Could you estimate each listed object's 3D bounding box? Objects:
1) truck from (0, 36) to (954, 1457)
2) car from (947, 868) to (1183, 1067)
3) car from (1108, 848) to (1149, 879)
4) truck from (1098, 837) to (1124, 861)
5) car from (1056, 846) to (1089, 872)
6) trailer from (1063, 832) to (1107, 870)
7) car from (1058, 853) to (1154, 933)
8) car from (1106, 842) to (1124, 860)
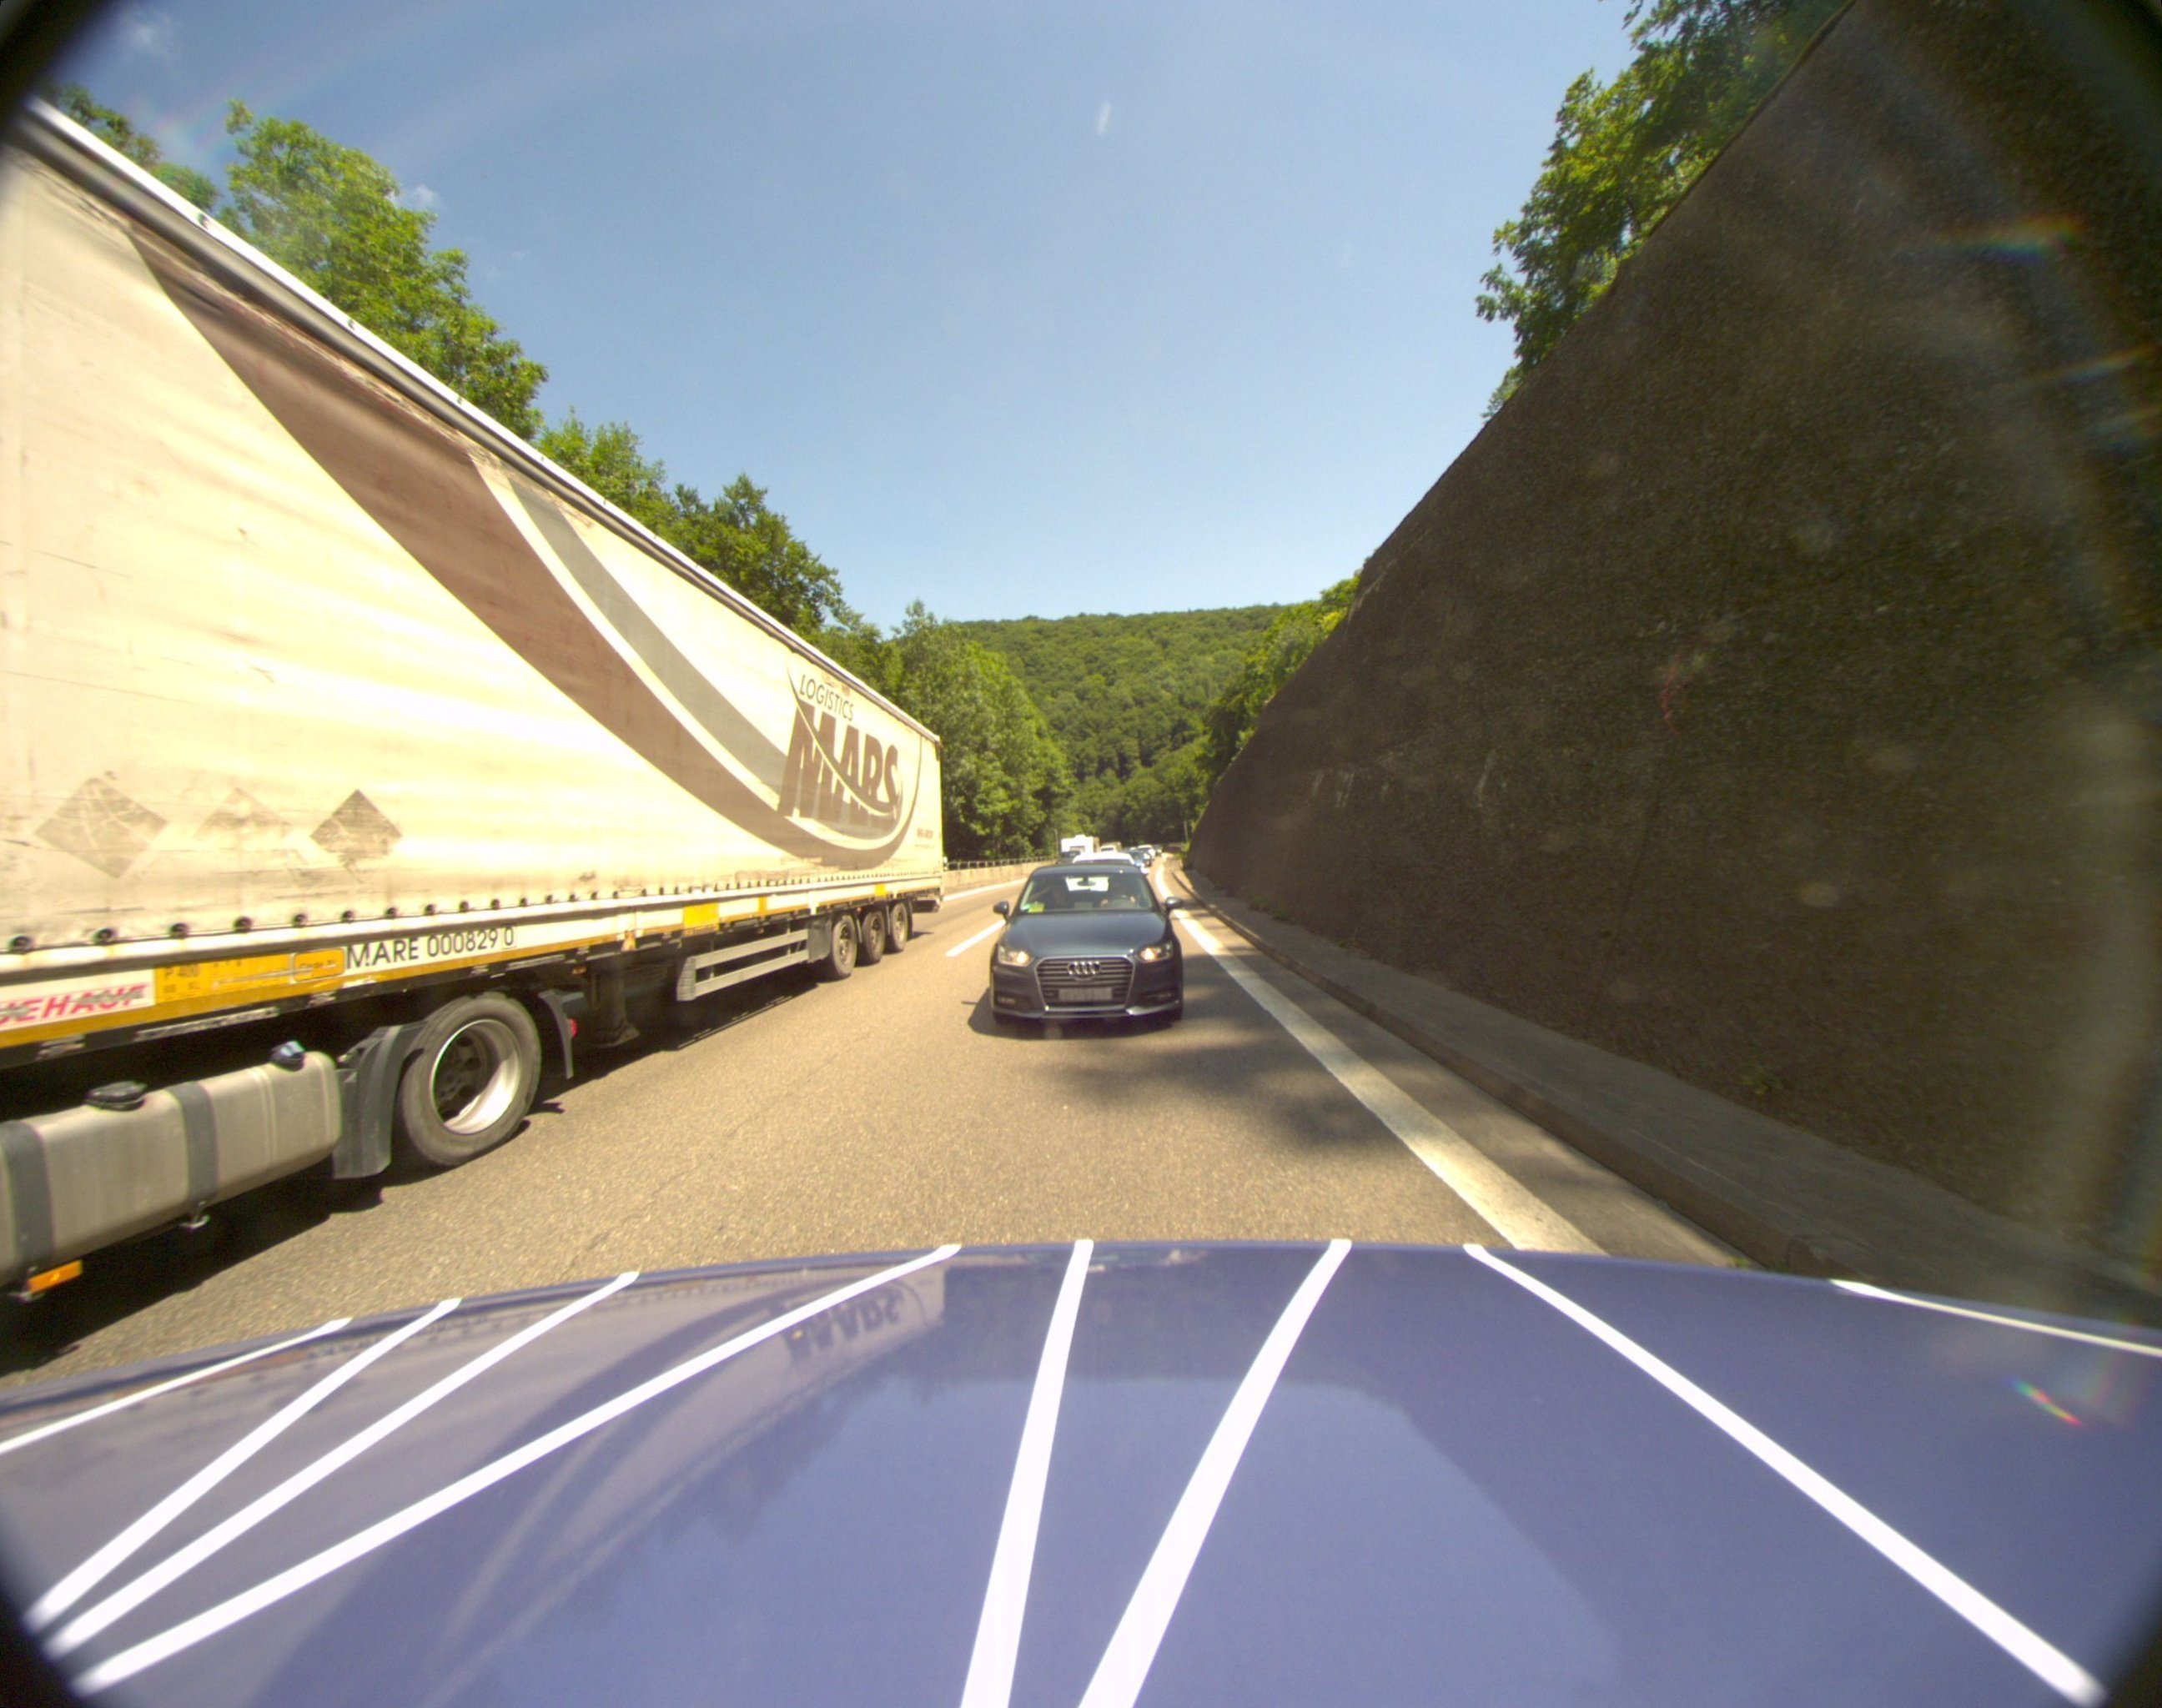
[{"bbox_3d":[-4.436,-0.338,7.269,2.968,4.108,16.707,-2,0,2],"label":"truck"},{"bbox_3d":[0.081,0.916,7.842,1.754,1.350,4.123,-2,1,6],"label":"car"},{"bbox_3d":[2.420,0.454,38.509,1.905,1.430,3.870,-2,0,4],"label":"car"},{"bbox_3d":[3.372,-0.528,83.433,2.441,2.395,6.814,-3,0,4],"label":"truck"},{"bbox_3d":[-0.543,0.317,52.458,1.998,1.652,4.000,-3,1,3],"label":"car"},{"bbox_3d":[0.426,-0.277,60.935,2.526,2.694,9.507,-2,0,6],"label":"trailer"},{"bbox_3d":[0.678,0.771,16.845,1.754,1.460,3.983,-3,0,6],"label":"car"},{"bbox_3d":[4.014,-0.398,89.978,1.998,2.002,4.000,-3,1,3],"label":"car"}]
